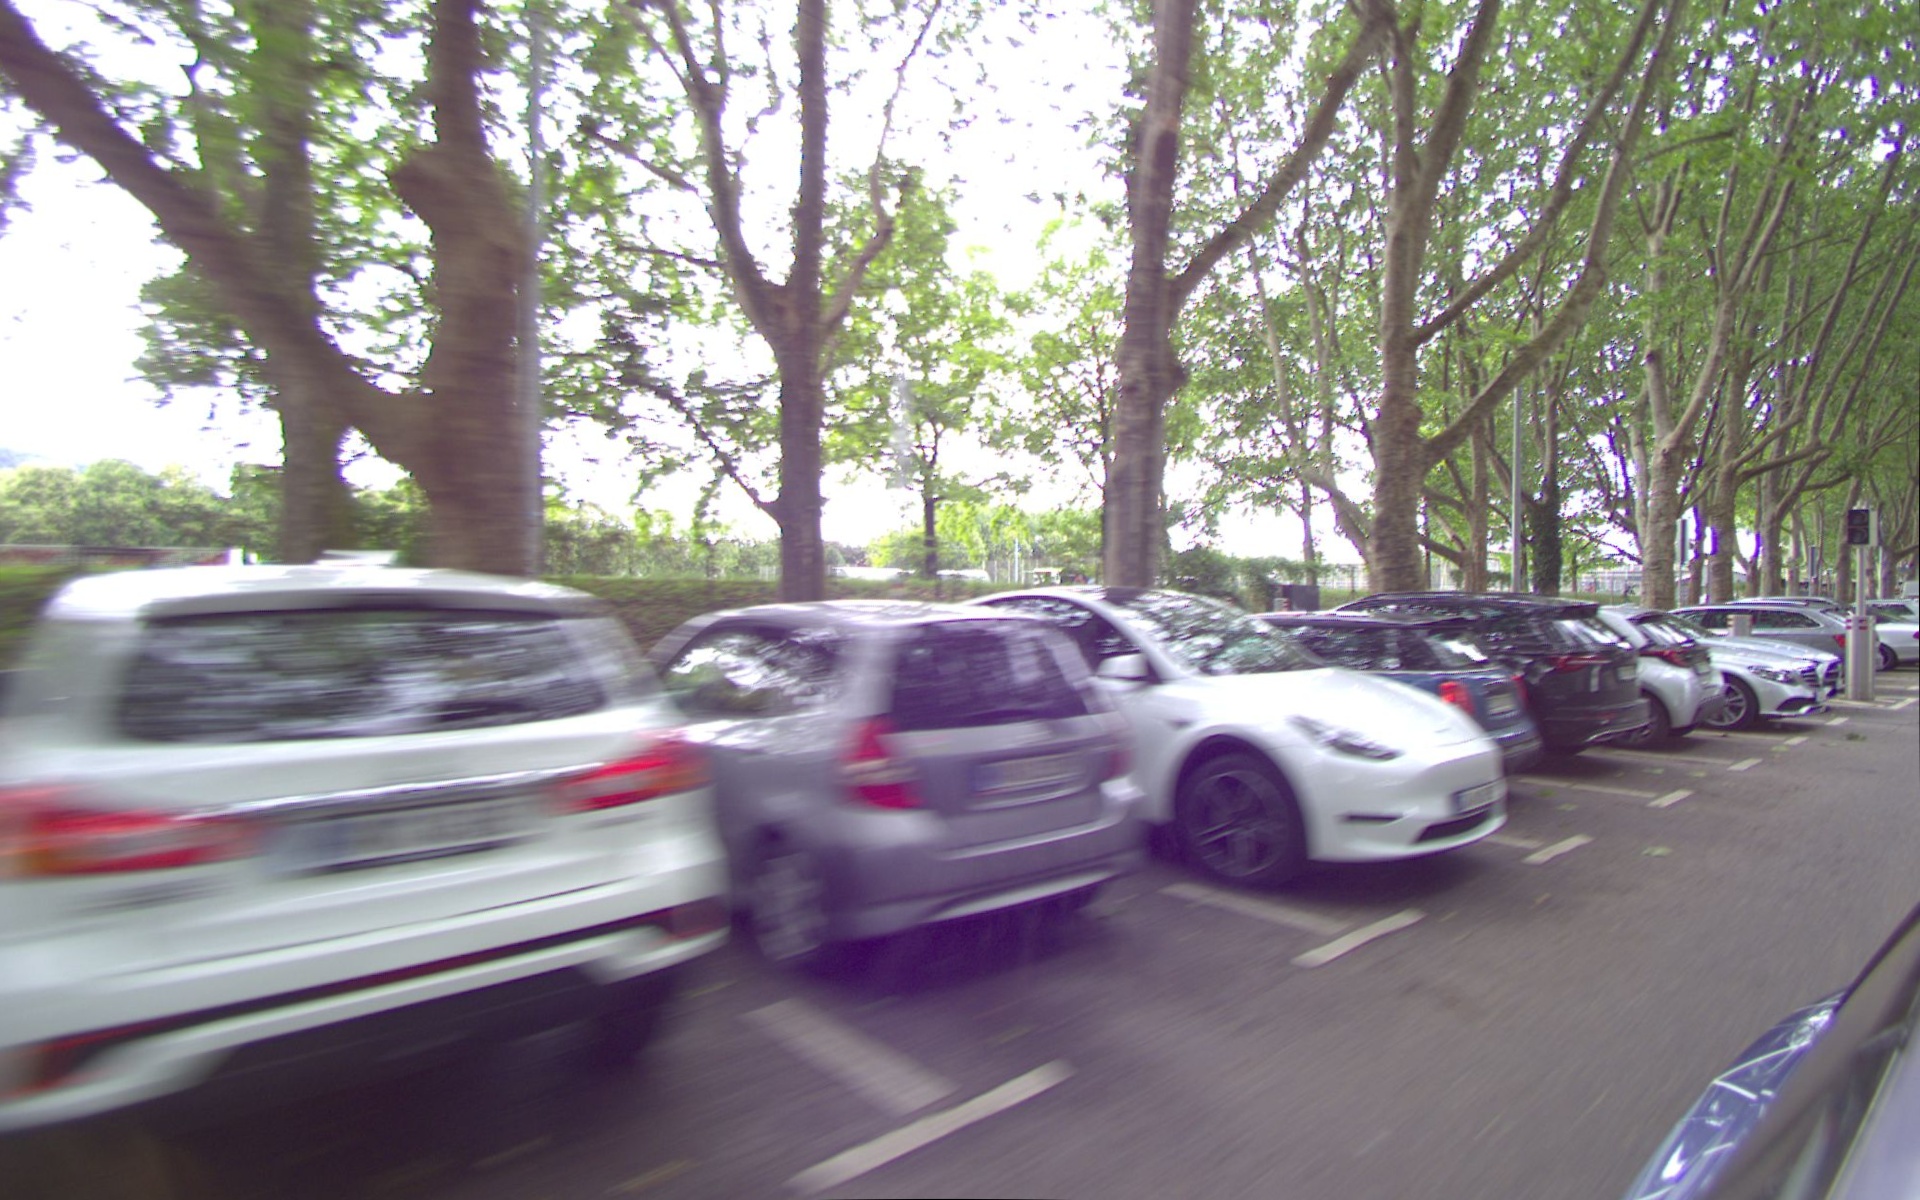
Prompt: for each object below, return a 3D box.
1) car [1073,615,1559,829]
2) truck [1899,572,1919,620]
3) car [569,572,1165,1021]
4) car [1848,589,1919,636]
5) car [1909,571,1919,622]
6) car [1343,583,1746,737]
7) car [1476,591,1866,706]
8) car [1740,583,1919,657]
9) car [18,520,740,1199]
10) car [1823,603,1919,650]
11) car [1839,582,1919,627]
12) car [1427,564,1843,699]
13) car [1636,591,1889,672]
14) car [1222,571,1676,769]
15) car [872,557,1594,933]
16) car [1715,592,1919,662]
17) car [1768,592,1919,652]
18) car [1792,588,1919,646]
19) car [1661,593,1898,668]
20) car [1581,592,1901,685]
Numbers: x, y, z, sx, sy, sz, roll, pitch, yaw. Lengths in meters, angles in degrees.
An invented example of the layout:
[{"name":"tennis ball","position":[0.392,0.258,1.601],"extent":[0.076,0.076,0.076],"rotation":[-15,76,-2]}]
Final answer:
[{"name":"car","position":[2.843,0.844,8.630],"extent":[1.494,1.389,3.648],"rotation":[0,-1,-44]},{"name":"truck","position":[56.454,-0.239,56.064],"extent":[2.060,2.750,6.307],"rotation":[0,-1,-39]},{"name":"car","position":[-0.807,0.682,5.448],"extent":[1.612,1.538,3.657],"rotation":[0,0,-35]},{"name":"car","position":[36.628,0.461,38.225],"extent":[1.768,1.777,4.395],"rotation":[0,-1,-38]},{"name":"car","position":[52.905,-0.205,52.440],"extent":[1.922,2.724,5.238],"rotation":[0,-1,-40]},{"name":"car","position":[6.633,0.592,11.769],"extent":[1.597,1.488,3.778],"rotation":[0,-1,-44]},{"name":"car","position":[10.628,0.638,15.509],"extent":[1.619,1.488,4.627],"rotation":[0,0,-37]},{"name":"car","position":[21.762,0.459,24.645],"extent":[1.664,1.691,4.121],"rotation":[0,-1,-40]},{"name":"car","position":[-2.428,0.703,3.740],"extent":[1.494,1.688,3.648],"rotation":[0,-1,-44]},{"name":"car","position":[29.293,0.796,31.249],"extent":[1.665,1.406,3.832],"rotation":[0,-1,-42]},{"name":"car","position":[32.575,0.163,34.335],"extent":[1.665,1.505,3.992],"rotation":[0,-1,-42]},{"name":"car","position":[8.635,0.358,13.261],"extent":[1.597,1.488,4.300],"rotation":[0,-1,-44]},{"name":"car","position":[16.145,0.582,20.503],"extent":[1.638,1.488,3.782],"rotation":[0,-1,-41]},{"name":"car","position":[4.802,0.582,10.289],"extent":[1.790,1.618,3.778],"rotation":[0,-1,-44]},{"name":"car","position":[1.442,0.632,6.517],"extent":[1.824,1.616,4.169],"rotation":[0,-1,-44]},{"name":"car","position":[19.838,0.574,22.936],"extent":[1.664,1.488,4.120],"rotation":[0,-1,-40]},{"name":"car","position":[23.575,0.540,25.986],"extent":[1.583,1.470,4.217],"rotation":[0,-1,-42]},{"name":"car","position":[26.988,0.486,29.636],"extent":[1.665,1.628,3.832],"rotation":[0,-1,-42]},{"name":"car","position":[17.753,0.605,22.062],"extent":[1.594,1.488,3.784],"rotation":[0,-1,-39]},{"name":"car","position":[13.975,0.624,18.342],"extent":[1.595,1.488,4.373],"rotation":[0,-1,-41]}]
